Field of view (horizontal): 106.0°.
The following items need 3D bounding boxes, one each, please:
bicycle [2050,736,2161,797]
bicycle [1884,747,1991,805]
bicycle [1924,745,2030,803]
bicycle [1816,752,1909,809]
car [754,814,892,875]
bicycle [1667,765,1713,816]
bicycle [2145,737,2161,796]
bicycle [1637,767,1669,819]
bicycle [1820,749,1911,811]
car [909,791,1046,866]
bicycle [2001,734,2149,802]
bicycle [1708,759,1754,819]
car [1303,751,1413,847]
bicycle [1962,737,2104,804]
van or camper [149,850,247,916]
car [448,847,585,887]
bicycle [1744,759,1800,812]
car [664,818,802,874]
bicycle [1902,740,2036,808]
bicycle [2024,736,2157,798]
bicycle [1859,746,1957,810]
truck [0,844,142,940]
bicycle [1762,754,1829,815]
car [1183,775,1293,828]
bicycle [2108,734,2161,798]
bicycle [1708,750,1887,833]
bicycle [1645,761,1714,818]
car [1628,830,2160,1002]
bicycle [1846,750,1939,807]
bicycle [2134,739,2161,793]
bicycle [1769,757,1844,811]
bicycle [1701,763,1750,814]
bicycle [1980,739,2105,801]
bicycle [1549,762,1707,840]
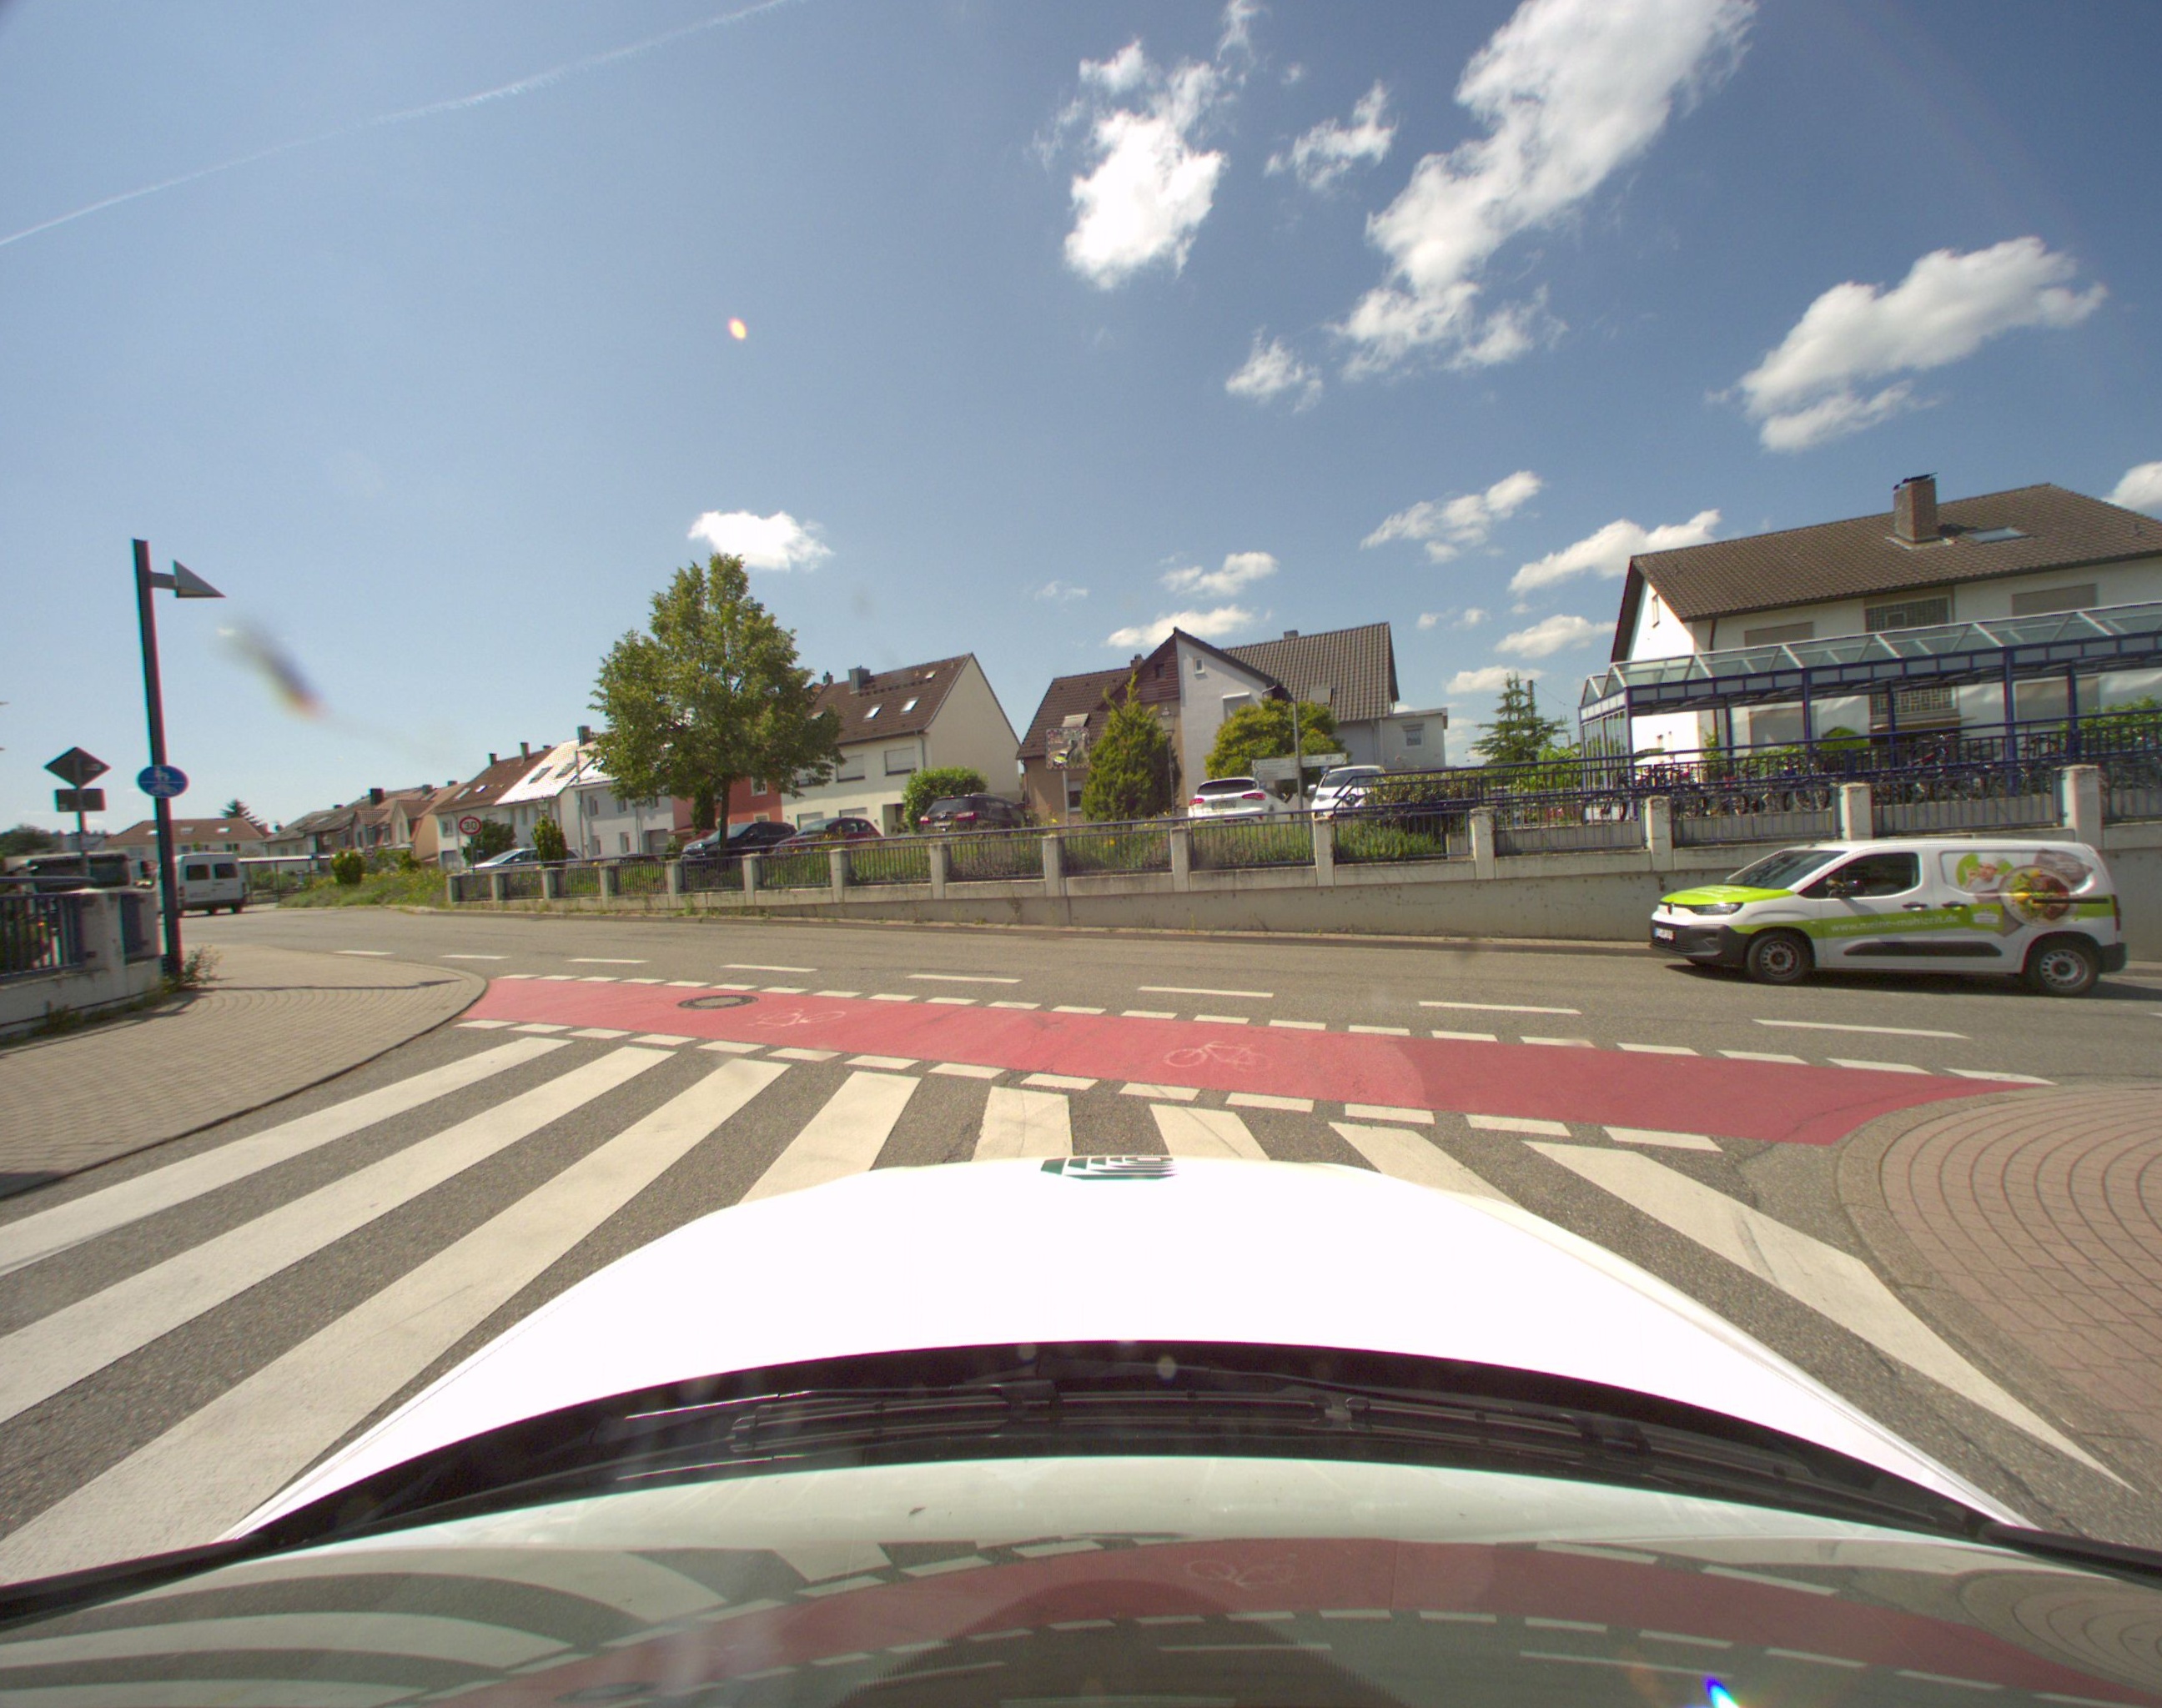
[{"bbox_3d":[19.232,-1.606,15.169,0.515,0.994,1.975,-3,1,17],"label":"bicycle"},{"bbox_3d":[16.619,-1.481,15.857,0.515,0.994,1.975,-3,1,17],"label":"bicycle"},{"bbox_3d":[17.296,-1.515,15.777,0.515,0.994,1.810,-3,1,17],"label":"bicycle"},{"bbox_3d":[15.485,-1.427,16.196,0.469,0.994,1.975,-3,1,17],"label":"bicycle"},{"bbox_3d":[-7.319,-0.272,23.460,1.851,1.586,3.629,1,1,23],"label":"car"},{"bbox_3d":[12.609,-1.288,16.899,0.369,0.994,1.978,-2,1,26],"label":"bicycle"},{"bbox_3d":[18.477,-1.489,13.244,0.511,0.994,2.051,-2,1,25],"label":"bicycle"},{"bbox_3d":[11.911,-1.252,16.980,0.451,0.994,1.900,-2,1,34],"label":"bicycle"},{"bbox_3d":[13.945,-1.274,14.541,0.431,0.994,2.295,-2,1,25],"label":"bicycle"},{"bbox_3d":[-2.653,-0.644,21.793,1.851,1.797,4.022,1,1,23],"label":"car"},{"bbox_3d":[16.889,-1.418,13.919,0.528,0.994,2.199,-3,1,20],"label":"bicycle"},{"bbox_3d":[11.794,-1.165,14.809,0.431,0.994,2.116,-2,1,33],"label":"bicycle"},{"bbox_3d":[6.141,-1.071,17.756,1.976,1.797,4.219,1,1,23],"label":"car"},{"bbox_3d":[16.165,-1.379,13.909,0.528,0.994,2.199,-3,1,20],"label":"bicycle"},{"bbox_3d":[-37.520,1.188,34.573,5.323,2.630,2.017,-1,-1,34],"label":"van or camper"},{"bbox_3d":[-23.000,0.481,33.348,1.725,1.488,4.283,1,1,29],"label":"car"},{"bbox_3d":[14.075,-1.361,16.631,0.369,0.994,1.978,-2,1,26],"label":"bicycle"},{"bbox_3d":[-10.665,-0.252,25.228,1.851,1.586,3.629,1,1,23],"label":"car"},{"bbox_3d":[15.181,-1.329,14.015,0.528,0.994,2.293,-3,1,20],"label":"bicycle"},{"bbox_3d":[18.620,-1.571,15.086,0.515,0.994,1.975,-3,1,17],"label":"bicycle"},{"bbox_3d":[14.487,-1.299,14.338,0.431,0.994,2.295,-2,1,25],"label":"bicycle"},{"bbox_3d":[-35.745,1.233,28.648,7.967,2.876,2.636,-1,2,35],"label":"truck"},{"bbox_3d":[12.816,-1.216,14.655,0.431,0.994,2.115,-2,1,29],"label":"bicycle"},{"bbox_3d":[3.701,-1.150,18.734,1.809,1.020,3.478,1,1,23],"label":"car"},{"bbox_3d":[17.656,-1.442,13.153,0.573,0.994,2.202,-2,1,31],"label":"bicycle"},{"bbox_3d":[11.076,-0.947,12.647,2.098,1.125,0.394,-3,1,16],"label":"bicycle"},{"bbox_3d":[11.301,-1.185,15.436,0.329,0.994,2.085,-3,1,17],"label":"bicycle"},{"bbox_3d":[9.935,0.652,10.434,4.511,1.855,1.825,1,1,15],"label":"car"},{"bbox_3d":[15.933,-1.448,16.041,0.410,0.994,1.975,-3,1,17],"label":"bicycle"},{"bbox_3d":[20.348,-1.656,14.746,0.515,0.994,1.975,-3,1,17],"label":"bicycle"},{"bbox_3d":[14.728,-1.395,16.579,0.422,0.994,1.976,-3,1,20],"label":"bicycle"},{"bbox_3d":[13.451,-1.337,17.043,0.369,0.994,1.978,-2,1,26],"label":"bicycle"},{"bbox_3d":[17.901,-1.536,15.230,0.515,0.994,1.975,-3,1,17],"label":"bicycle"},{"bbox_3d":[8.876,-0.842,13.277,2.098,1.125,0.334,-3,1,16],"label":"bicycle"}]
